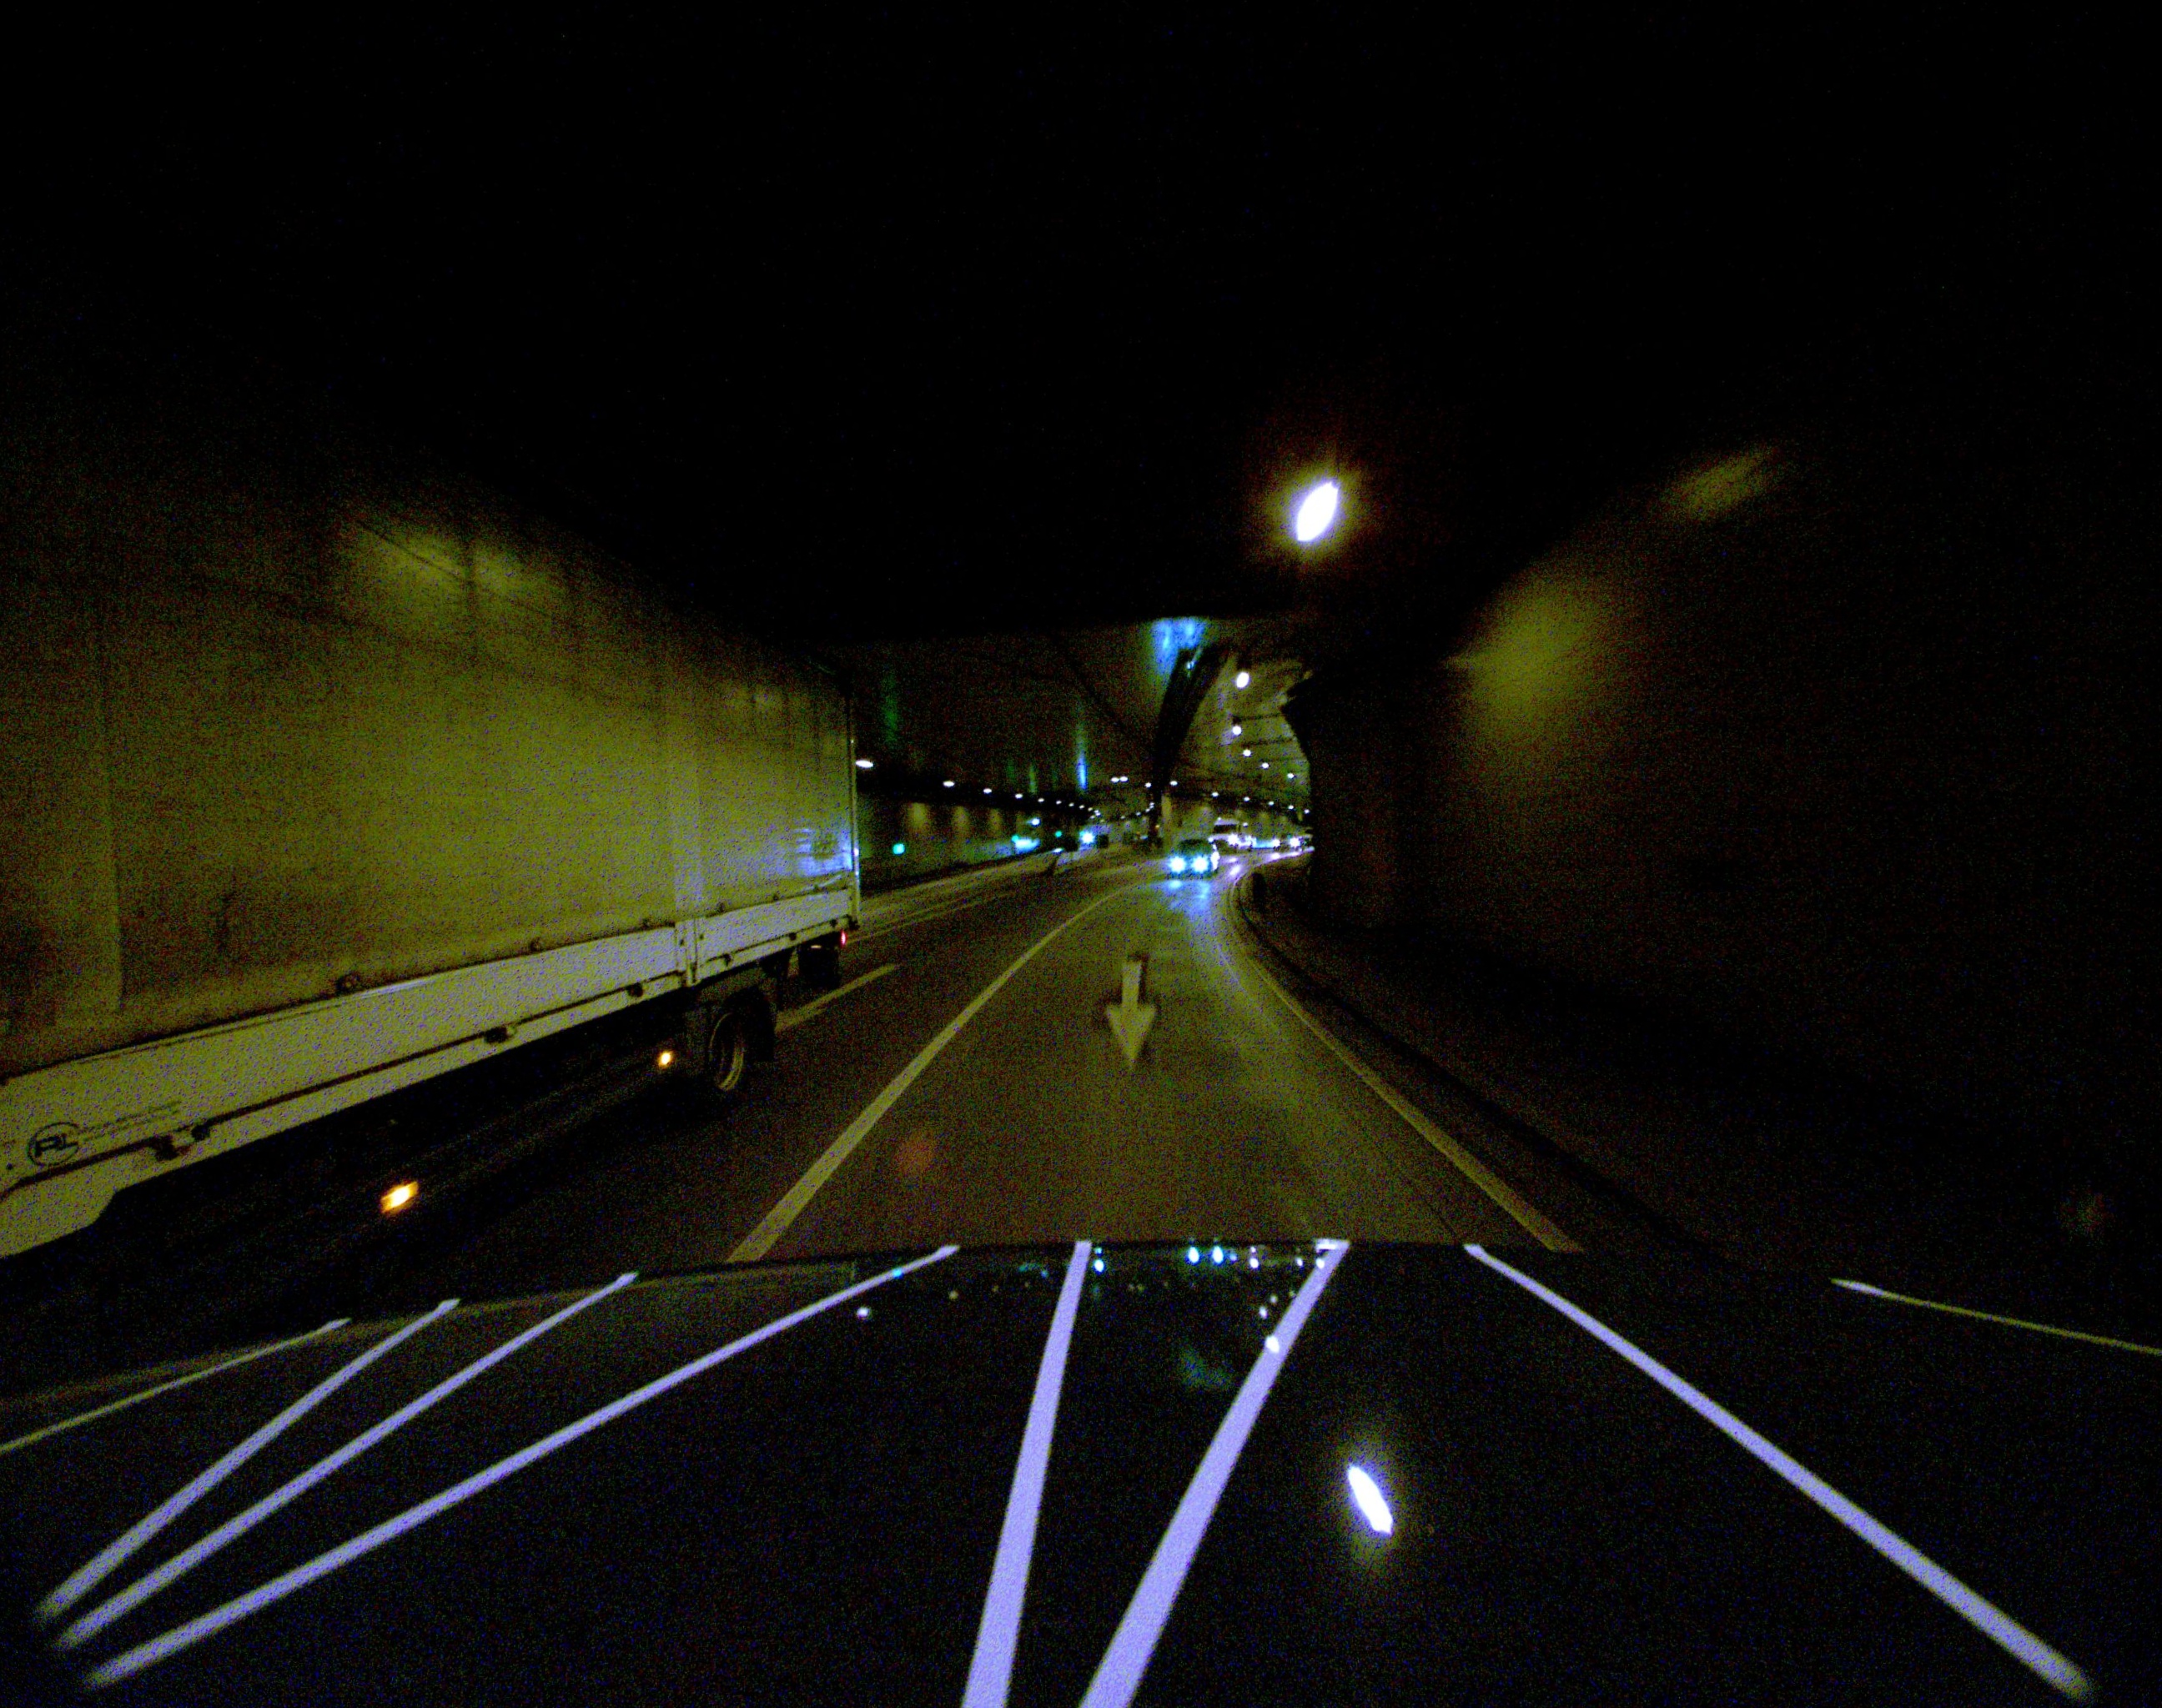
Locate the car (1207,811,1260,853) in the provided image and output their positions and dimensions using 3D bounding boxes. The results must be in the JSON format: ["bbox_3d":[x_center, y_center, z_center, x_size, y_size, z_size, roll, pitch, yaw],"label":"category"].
[{"bbox_3d":[11.314,-1.668,56.012,2.103,2.831,6.870,-1,2,26],"label":"car"}]

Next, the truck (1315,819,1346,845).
[{"bbox_3d":[27.150,-2.388,82.594,2.071,2.525,6.032,-4,1,27],"label":"truck"}]

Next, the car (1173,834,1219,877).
[{"bbox_3d":[4.737,0.016,30.954,1.638,1.552,3.718,-1,3,12],"label":"car"}]

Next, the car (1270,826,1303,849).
[{"bbox_3d":[15.557,-1.249,57.342,1.762,1.552,3.824,-4,0,24],"label":"car"}]

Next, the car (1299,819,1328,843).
[{"bbox_3d":[21.290,-2.062,69.471,1.932,1.917,4.205,-3,-3,25],"label":"car"}]

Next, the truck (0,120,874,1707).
[{"bbox_3d":[-3.282,0.185,3.096,2.559,3.162,7.246,-2,0,2],"label":"truck"}]
